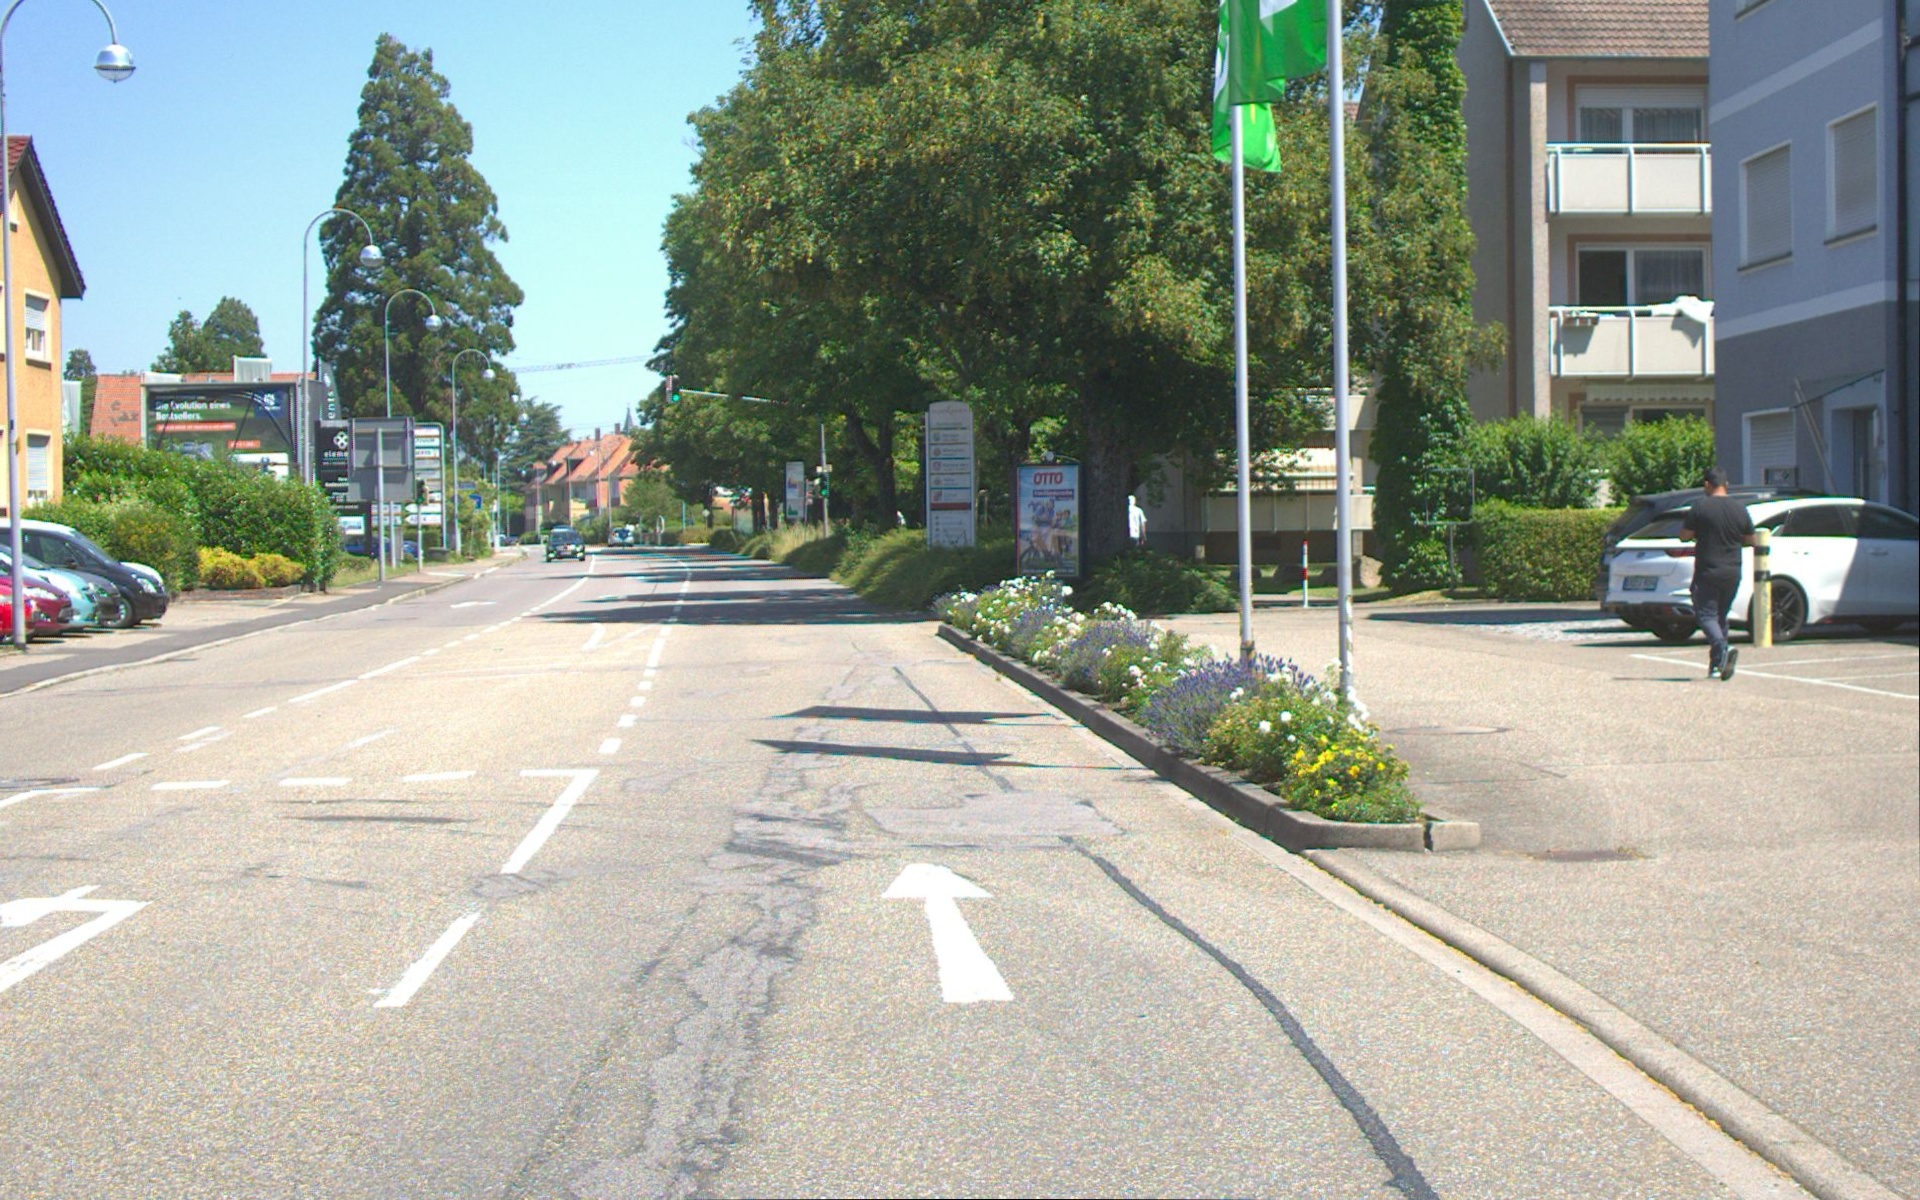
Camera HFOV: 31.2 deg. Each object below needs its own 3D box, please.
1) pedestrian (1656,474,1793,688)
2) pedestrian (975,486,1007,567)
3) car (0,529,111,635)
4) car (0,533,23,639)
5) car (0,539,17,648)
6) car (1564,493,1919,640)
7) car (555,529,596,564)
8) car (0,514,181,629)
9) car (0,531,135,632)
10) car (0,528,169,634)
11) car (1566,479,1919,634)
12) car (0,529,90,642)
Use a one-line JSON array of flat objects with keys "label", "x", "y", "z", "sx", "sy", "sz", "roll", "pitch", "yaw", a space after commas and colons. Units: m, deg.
[{"label": "pedestrian", "x": 6.023, "y": -0.156, "z": 27.132, "sx": 0.840, "sy": 1.635, "sz": 1.010, "roll": -1, "pitch": 1, "yaw": 1}, {"label": "pedestrian", "x": 0.742, "y": -1.751, "z": 81.888, "sx": 0.703, "sy": 1.907, "sz": 0.660, "roll": -2, "pitch": 1, "yaw": 0}, {"label": "car", "x": -15.008, "y": -0.259, "z": 52.570, "sx": 3.663, "sy": 1.575, "sz": 1.923, "roll": -1, "pitch": 1, "yaw": -6}, {"label": "car", "x": -15.050, "y": -0.157, "z": 47.691, "sx": 3.663, "sy": 1.452, "sz": 1.893, "roll": -1, "pitch": 1, "yaw": -6}, {"label": "car", "x": -14.754, "y": -0.037, "z": 45.403, "sx": 4.125, "sy": 1.439, "sz": 1.827, "roll": -1, "pitch": 1, "yaw": -4}, {"label": "car", "x": 8.472, "y": -0.370, "z": 34.661, "sx": 4.343, "sy": 1.366, "sz": 1.956, "roll": -2, "pitch": 1, "yaw": -26}, {"label": "car", "x": -17.719, "y": -2.469, "z": 158.527, "sx": 1.709, "sy": 1.490, "sz": 4.278, "roll": -1, "pitch": 2, "yaw": -4}, {"label": "car", "x": -15.567, "y": -0.486, "z": 59.021, "sx": 4.093, "sy": 1.891, "sz": 2.001, "roll": -1, "pitch": 1, "yaw": -8}, {"label": "car", "x": -15.136, "y": -0.285, "z": 54.676, "sx": 3.663, "sy": 1.526, "sz": 1.923, "roll": -1, "pitch": 1, "yaw": -6}, {"label": "car", "x": -15.101, "y": -0.308, "z": 56.908, "sx": 3.663, "sy": 1.666, "sz": 1.923, "roll": -1, "pitch": 1, "yaw": -6}, {"label": "car", "x": 9.040, "y": -0.508, "z": 38.697, "sx": 3.986, "sy": 1.545, "sz": 1.798, "roll": -3, "pitch": 1, "yaw": -4}, {"label": "car", "x": -14.787, "y": -0.193, "z": 50.390, "sx": 3.663, "sy": 1.599, "sz": 1.882, "roll": -1, "pitch": 1, "yaw": -6}]
